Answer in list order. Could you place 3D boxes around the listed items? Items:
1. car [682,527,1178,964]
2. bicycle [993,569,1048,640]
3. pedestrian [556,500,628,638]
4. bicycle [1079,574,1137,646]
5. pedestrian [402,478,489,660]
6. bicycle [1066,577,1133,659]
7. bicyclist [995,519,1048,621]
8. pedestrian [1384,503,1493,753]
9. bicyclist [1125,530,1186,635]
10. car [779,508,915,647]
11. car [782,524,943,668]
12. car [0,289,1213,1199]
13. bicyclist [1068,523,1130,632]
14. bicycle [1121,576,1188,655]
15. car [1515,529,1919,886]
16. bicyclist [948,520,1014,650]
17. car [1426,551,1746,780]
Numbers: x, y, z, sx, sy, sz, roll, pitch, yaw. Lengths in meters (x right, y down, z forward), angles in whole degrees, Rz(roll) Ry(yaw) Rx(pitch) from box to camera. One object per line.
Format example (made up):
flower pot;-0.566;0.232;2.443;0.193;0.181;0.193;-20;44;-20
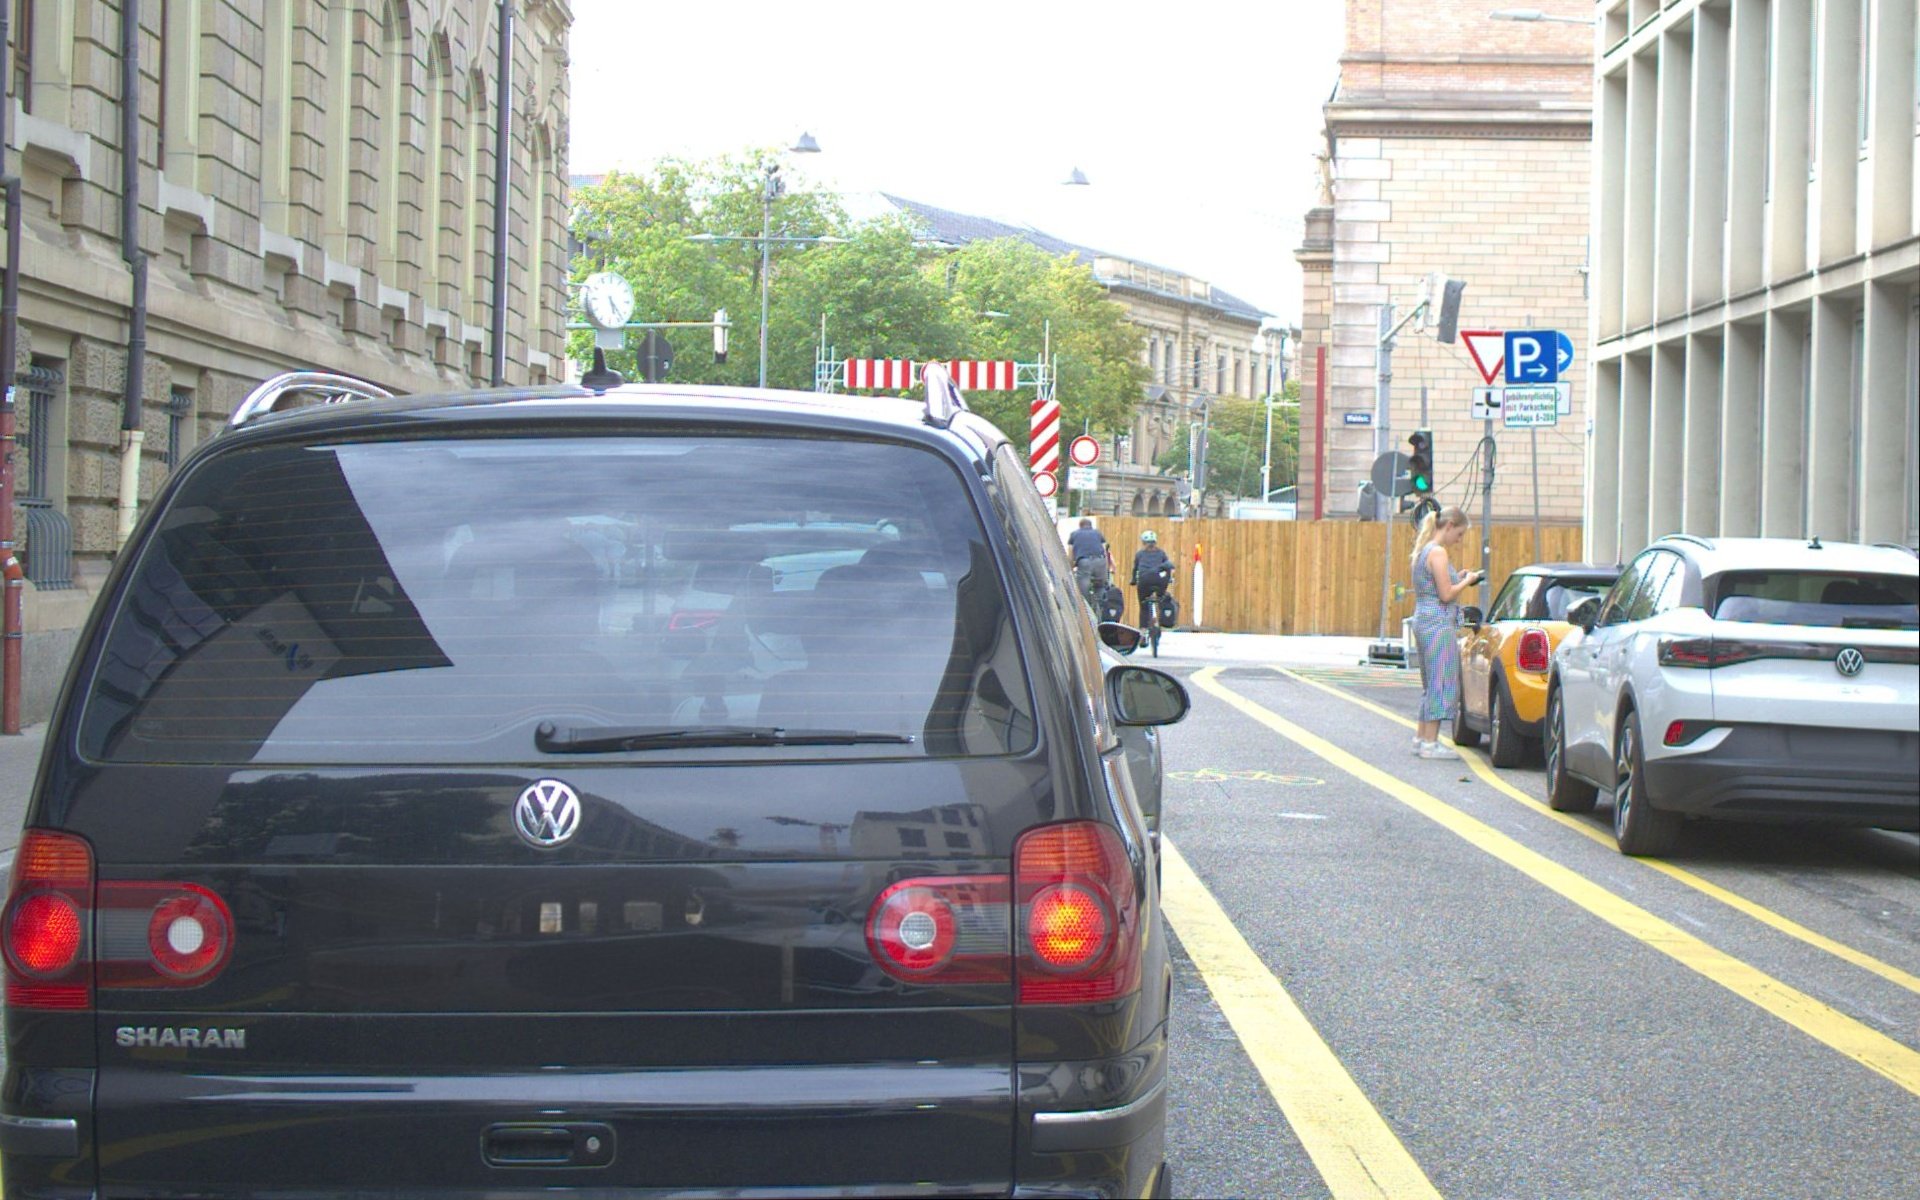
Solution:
car;-0.024;0.480;13.897;1.678;1.464;4.103;1;1;2
bicycle;0.882;0.054;50.399;0.735;1.005;2.069;1;1;-1
pedestrian;-4.979;-0.421;46.562;0.792;1.813;1.048;3;0;-1
bicycle;2.158;0.137;50.355;0.735;1.005;2.069;1;1;-1
pedestrian;-5.256;-0.317;35.189;0.664;1.813;1.048;3;0;-1
bicycle;1.765;0.214;43.877;0.735;1.005;2.069;1;1;-1
bicyclist;0.897;-0.439;50.360;0.735;1.465;0.809;1;0;-1
pedestrian;3.427;0.196;24.679;0.698;1.757;0.706;1;0;3
bicyclist;2.587;-0.230;45.622;0.735;1.371;0.832;1;0;-1
car;-1.591;-0.317;47.272;1.734;1.784;4.104;1;1;-3
car;-1.106;-0.069;40.270;1.773;1.580;4.000;1;1;-1
car;-0.500;0.472;6.625;1.790;1.784;4.103;1;1;2
bicyclist;1.774;-0.294;44.026;0.735;1.372;0.829;1;0;-1
bicycle;2.578;0.195;45.642;0.735;1.005;2.069;1;1;-1
car;4.254;0.501;18.523;1.860;1.599;4.512;4;1;2
bicyclist;0.238;-0.178;39.603;0.735;1.473;0.884;1;0;-1
car;4.489;0.423;25.146;1.680;1.430;3.886;4;1;2
